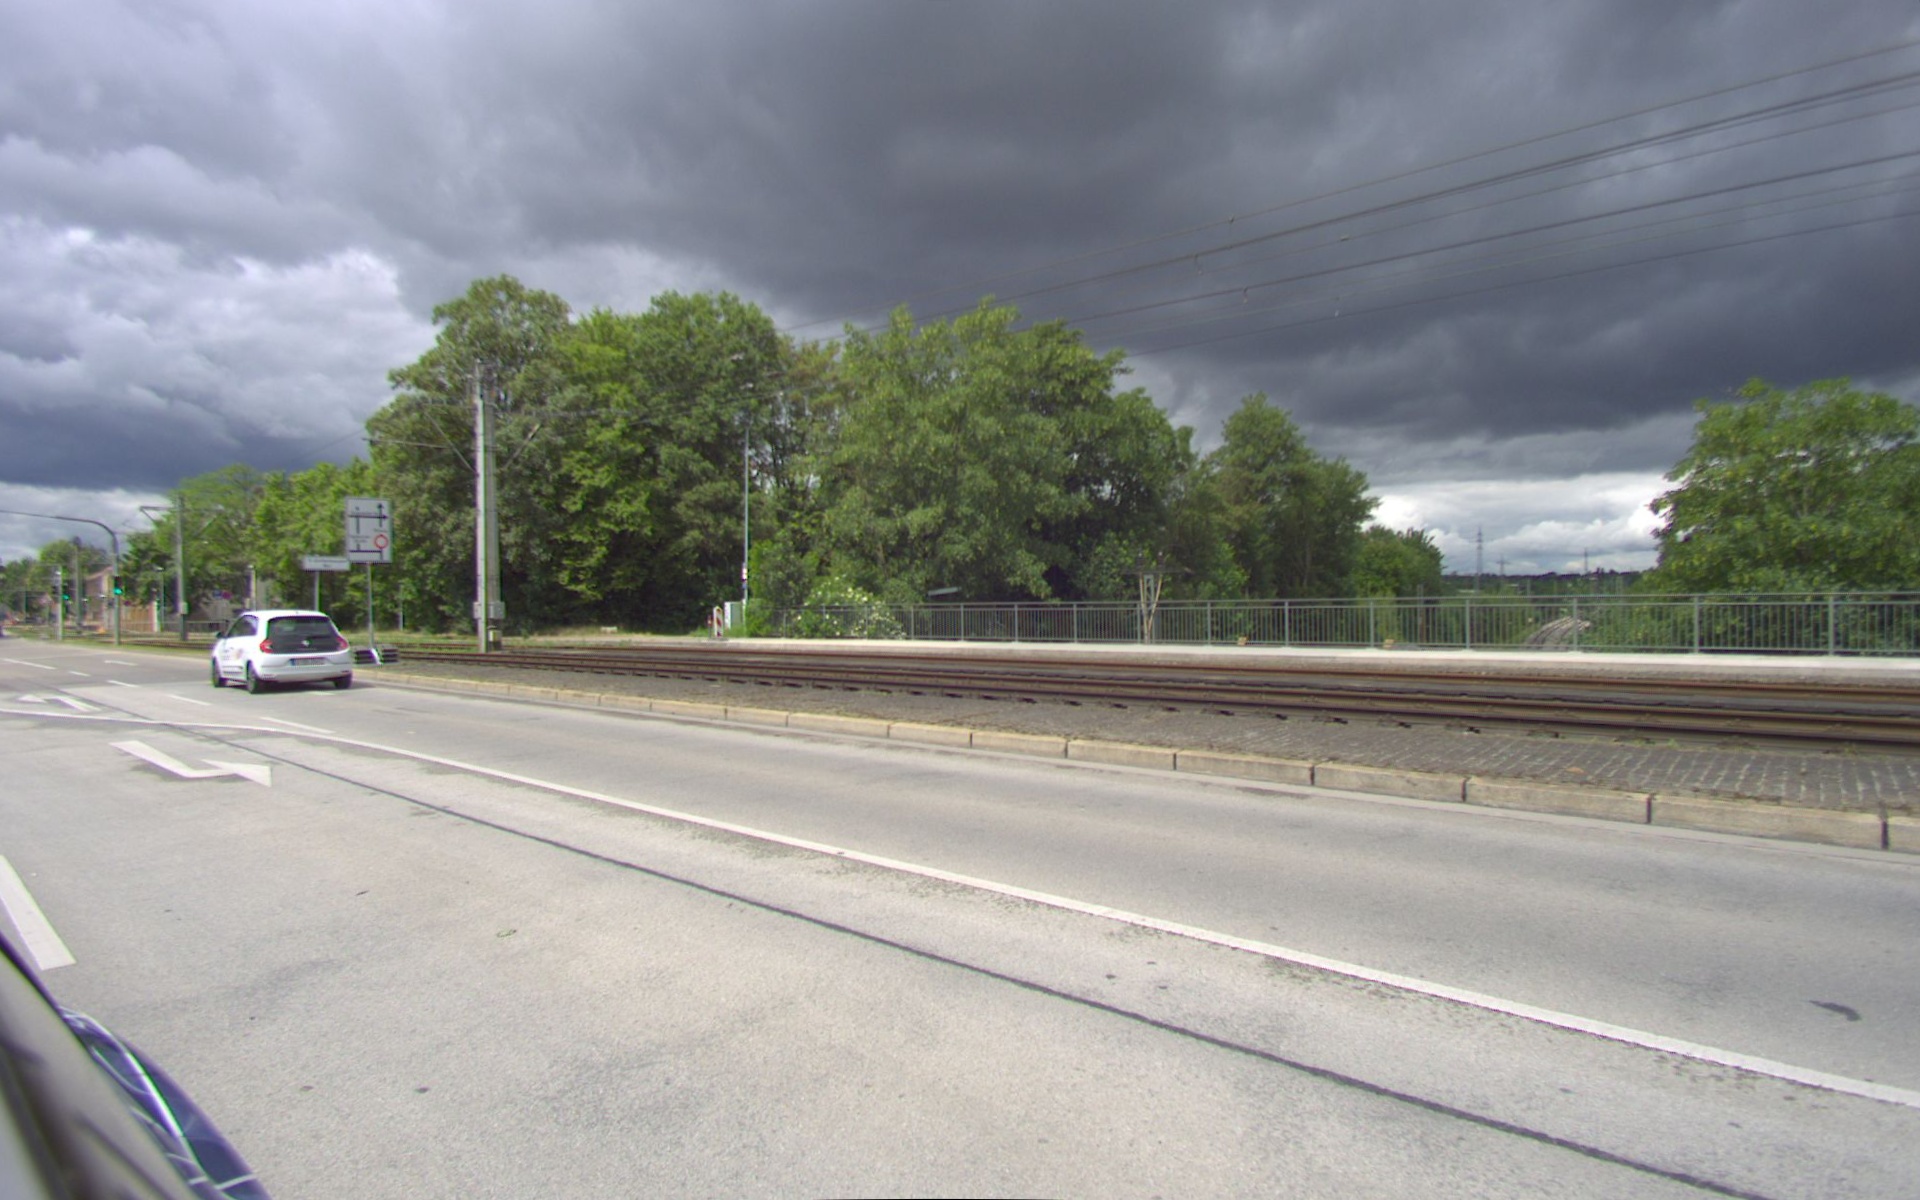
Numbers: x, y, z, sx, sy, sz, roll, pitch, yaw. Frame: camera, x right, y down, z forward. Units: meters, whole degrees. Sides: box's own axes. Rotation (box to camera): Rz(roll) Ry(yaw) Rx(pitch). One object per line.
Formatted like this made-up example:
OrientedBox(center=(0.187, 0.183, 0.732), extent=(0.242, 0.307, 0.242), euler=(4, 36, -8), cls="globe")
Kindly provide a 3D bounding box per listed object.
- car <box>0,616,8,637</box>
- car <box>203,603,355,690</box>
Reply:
OrientedBox(center=(-83.511, 2.319, 87.388), extent=(4.229, 1.688, 1.688), euler=(-1, 2, 44), cls="car")
OrientedBox(center=(-13.434, 0.848, 19.902), extent=(3.653, 1.538, 1.577), euler=(0, 0, 41), cls="car")
